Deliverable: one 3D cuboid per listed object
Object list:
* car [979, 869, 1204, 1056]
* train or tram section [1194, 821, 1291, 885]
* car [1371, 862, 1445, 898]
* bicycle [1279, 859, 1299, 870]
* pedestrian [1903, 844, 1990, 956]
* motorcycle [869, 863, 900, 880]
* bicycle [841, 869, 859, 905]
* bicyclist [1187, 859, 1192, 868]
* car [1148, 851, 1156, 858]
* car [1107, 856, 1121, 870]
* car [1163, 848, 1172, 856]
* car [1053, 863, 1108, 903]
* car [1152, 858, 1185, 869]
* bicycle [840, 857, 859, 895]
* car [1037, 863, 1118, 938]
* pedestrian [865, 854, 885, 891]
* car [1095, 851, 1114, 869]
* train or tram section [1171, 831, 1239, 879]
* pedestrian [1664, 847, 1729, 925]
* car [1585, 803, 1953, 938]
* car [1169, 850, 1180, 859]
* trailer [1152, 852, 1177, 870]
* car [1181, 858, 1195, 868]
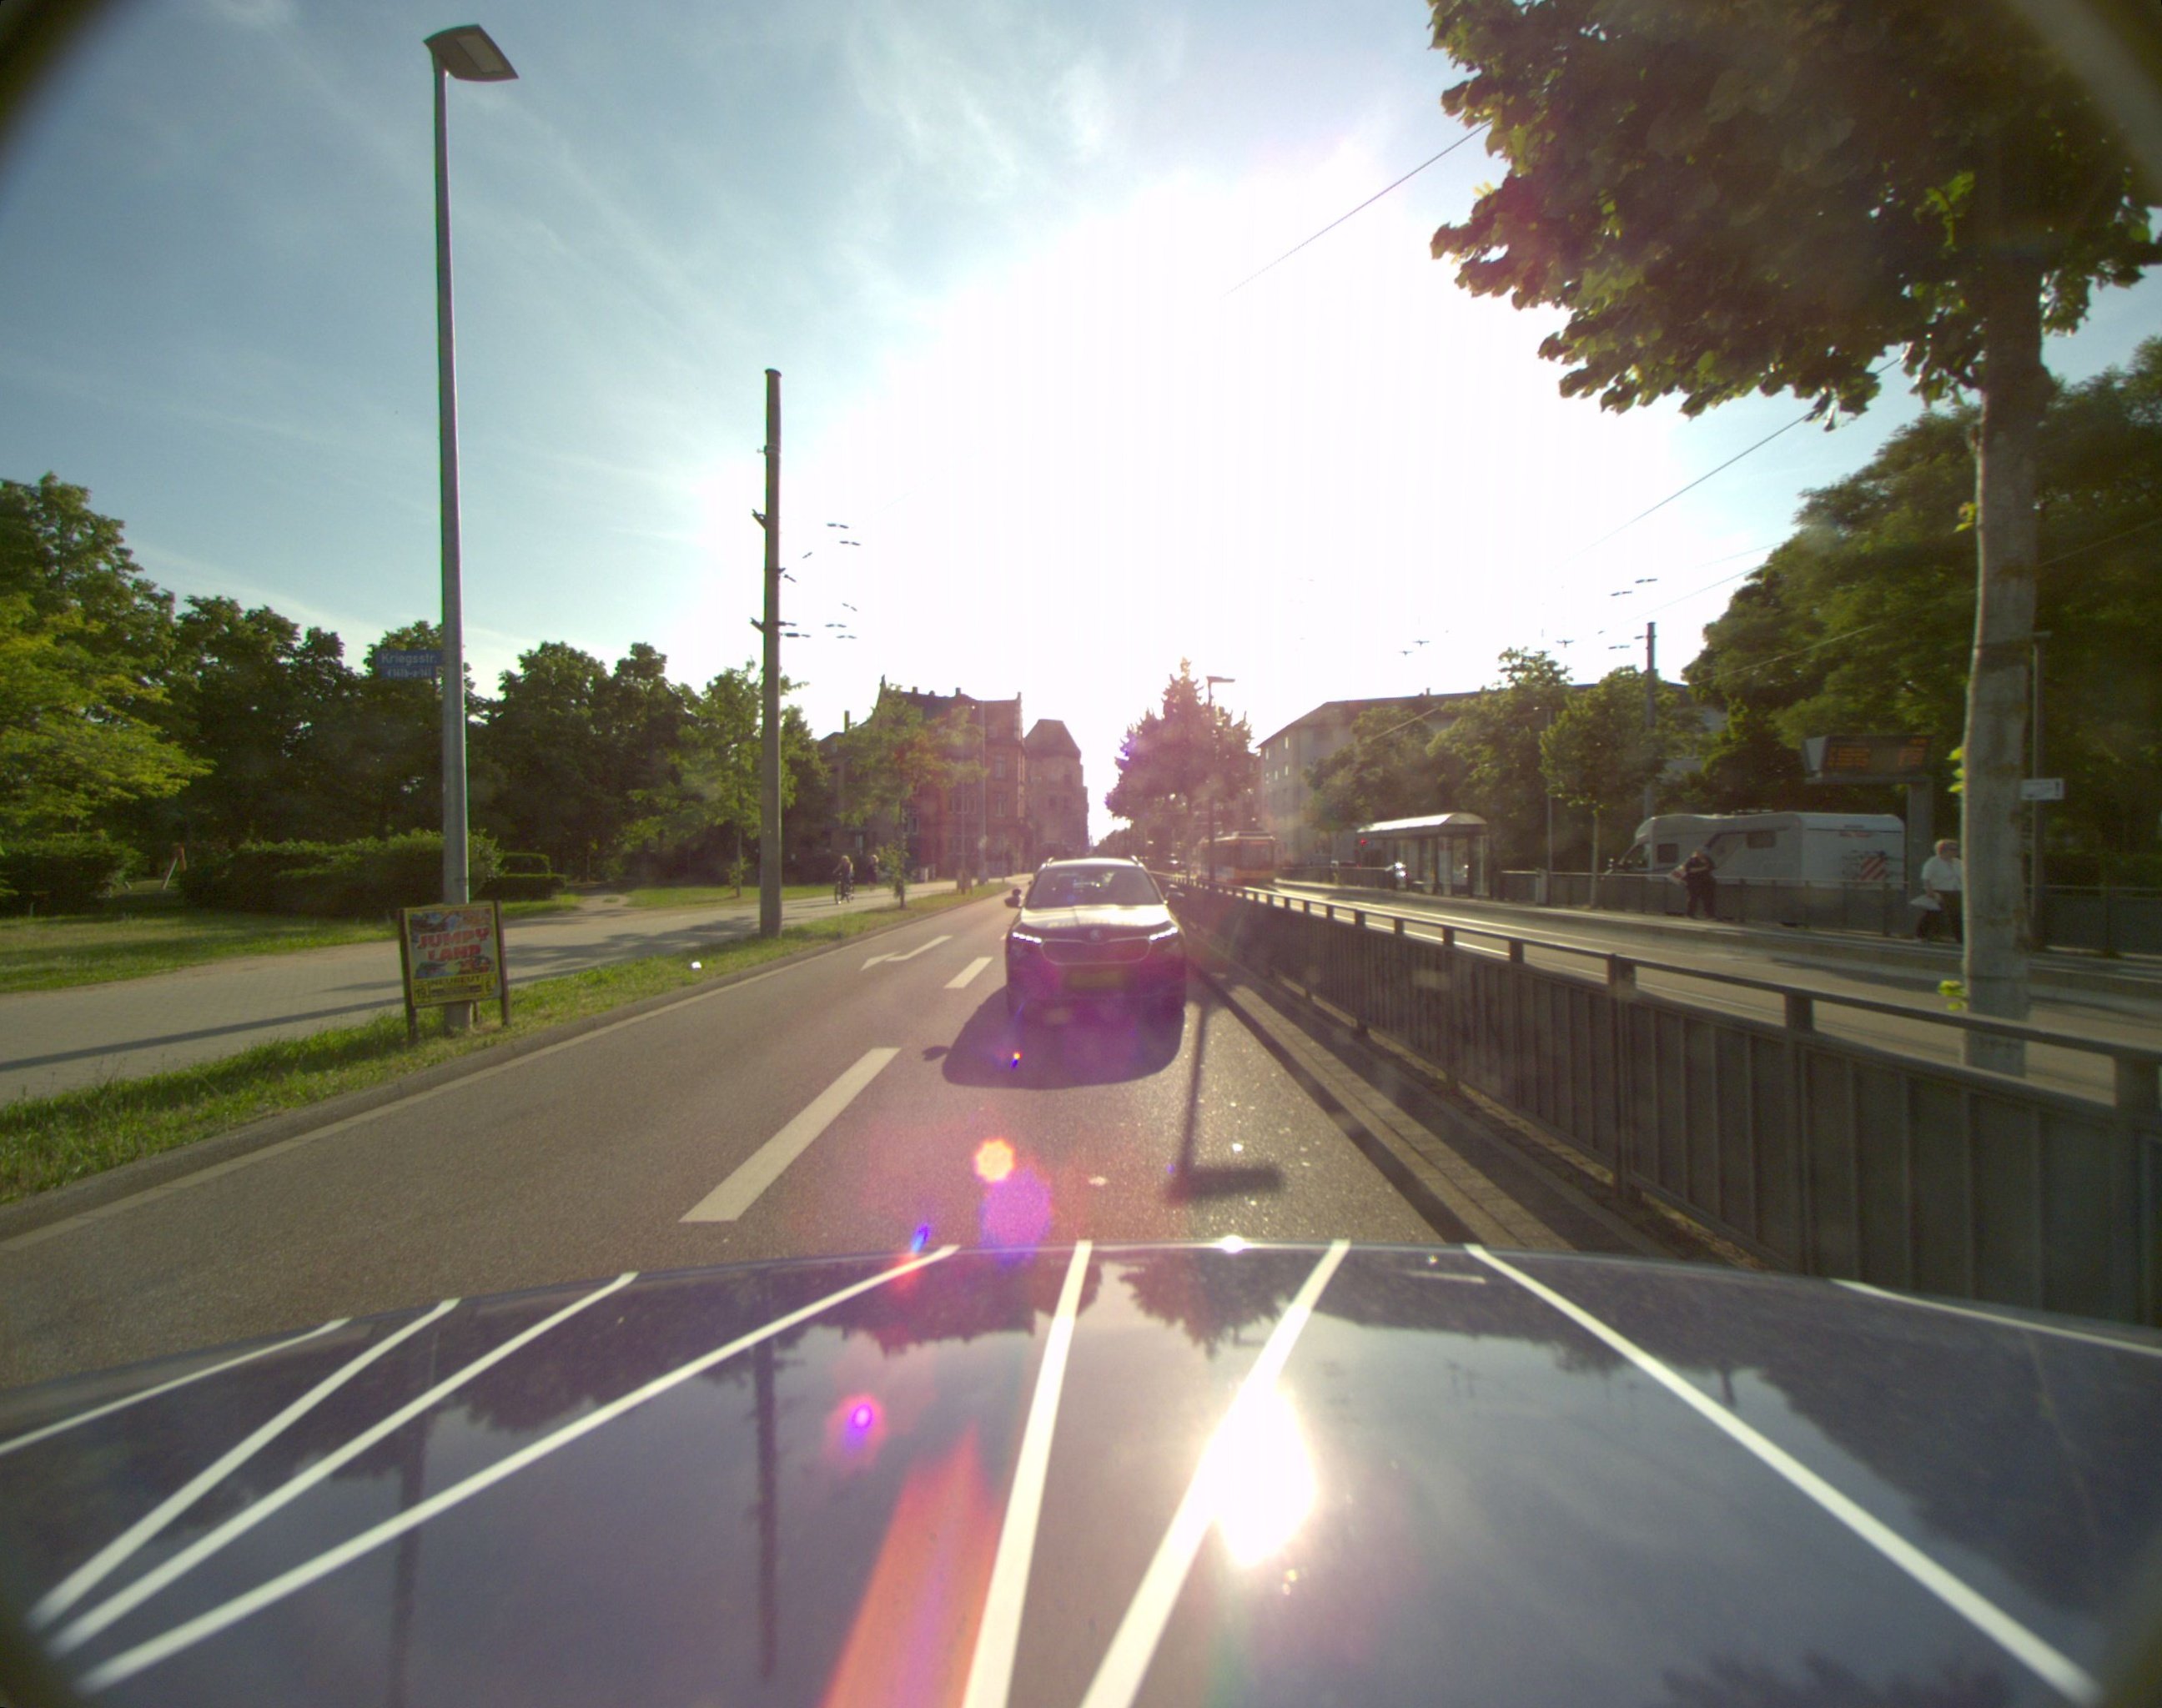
[{"bbox_3d":[0.179,0.919,8.195,1.839,1.472,4.001,0,0,3],"label":"car"},{"bbox_3d":[9.859,0.017,48.593,3.169,3.459,14.473,-1,0,1],"label":"train or tram section"},{"bbox_3d":[16.507,1.267,38.623,1.999,1.674,4.000,-1,0,-1],"label":"car"},{"bbox_3d":[21.103,1.068,77.056,1.912,1.104,0.736,0,0,22],"label":"bicycle"},{"bbox_3d":[12.952,0.676,11.382,0.583,1.631,0.607,1,0,-4],"label":"pedestrian"},{"bbox_3d":[-13.903,1.236,53.880,2.002,1.153,0.708,-1,0,-5],"label":"motorcycle"},{"bbox_3d":[-8.073,1.140,26.511,0.485,1.183,1.337,-1,0,-21],"label":"bicycle"},{"bbox_3d":[17.058,1.549,119.569,0.652,1.405,0.717,-1,0,5],"label":"bicyclist"},{"bbox_3d":[21.461,0.261,228.441,1.998,2.002,4.000,-1,0,0],"label":"car"},{"bbox_3d":[5.012,1.341,115.577,1.998,2.002,4.000,0,0,1],"label":"car"},{"bbox_3d":[23.228,-0.447,204.162,1.998,2.002,4.001,-1,0,4],"label":"car"},{"bbox_3d":[0.044,1.200,32.751,1.998,1.564,4.002,-1,0,5],"label":"car"},{"bbox_3d":[11.248,1.200,98.223,3.941,1.352,1.676,0,0,38],"label":"car"},{"bbox_3d":[-8.050,0.770,26.438,0.575,1.290,0.687,-1,0,-20],"label":"bicycle"},{"bbox_3d":[-0.077,1.175,20.943,1.998,1.827,4.000,-1,0,0],"label":"car"},{"bbox_3d":[-9.614,0.858,35.468,0.616,1.682,0.549,5,1,5],"label":"pedestrian"},{"bbox_3d":[2.598,0.640,83.803,1.998,2.002,4.000,0,0,1],"label":"car"},{"bbox_3d":[9.984,0.131,63.019,3.170,3.459,14.532,-1,0,0],"label":"train or tram section"},{"bbox_3d":[13.455,0.681,16.624,0.666,1.632,0.863,-1,0,-16],"label":"pedestrian"},{"bbox_3d":[16.564,0.373,19.295,2.603,2.719,7.469,-1,0,1],"label":"car"},{"bbox_3d":[21.377,0.026,173.732,1.998,2.002,4.000,-1,0,1],"label":"car"},{"bbox_3d":[11.148,0.911,101.895,2.858,2.377,1.726,-1,0,32],"label":"trailer"},{"bbox_3d":[19.695,1.633,140.211,2.170,1.890,4.612,-1,0,3],"label":"car"}]
